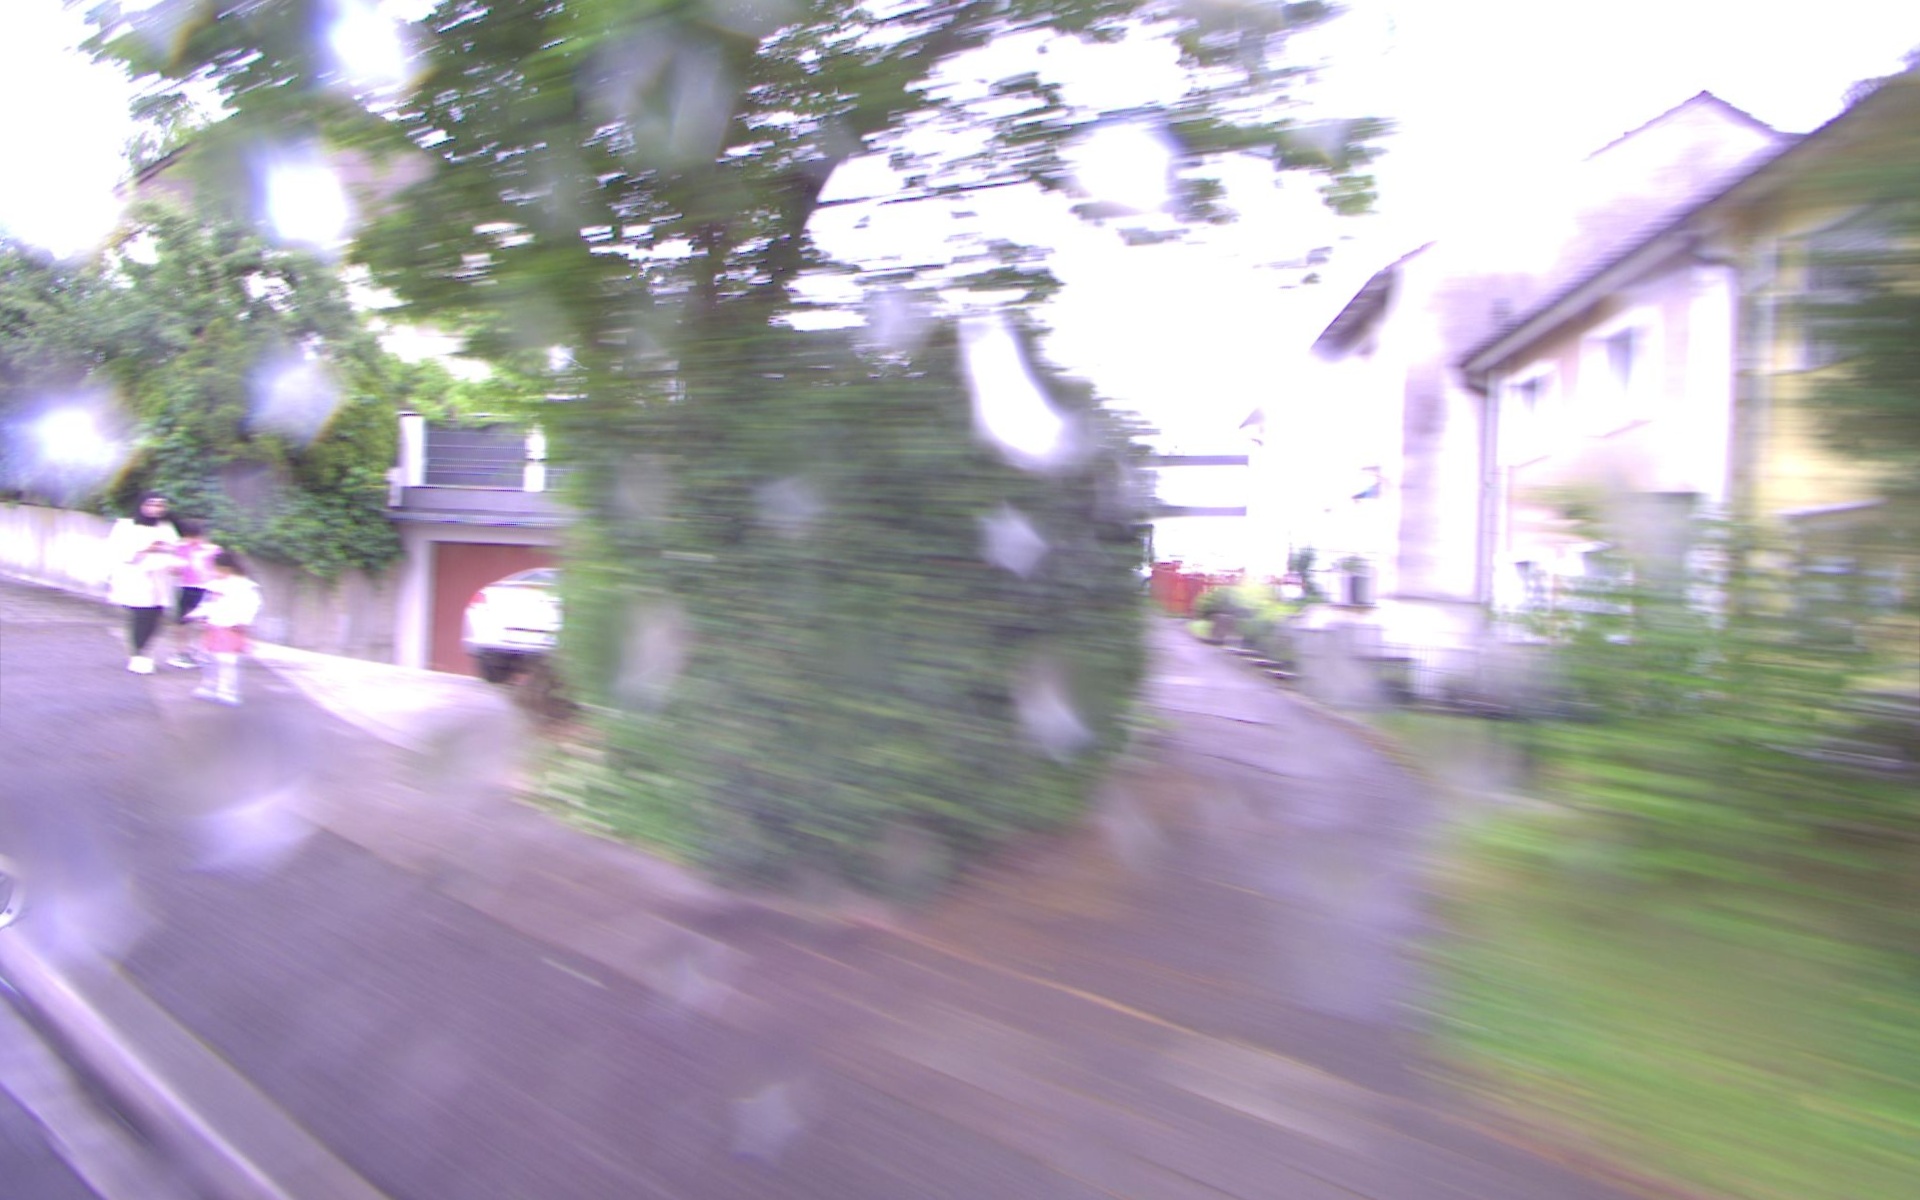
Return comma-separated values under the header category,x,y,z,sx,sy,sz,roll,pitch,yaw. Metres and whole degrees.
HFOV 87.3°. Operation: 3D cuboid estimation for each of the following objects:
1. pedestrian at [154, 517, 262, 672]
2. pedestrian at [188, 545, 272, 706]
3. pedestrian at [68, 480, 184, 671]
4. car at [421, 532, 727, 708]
category,x,y,z,sx,sy,sz,roll,pitch,yaw
pedestrian,-7.056,-0.050,9.443,0.637,1.372,0.601,6,1,40
pedestrian,-5.490,0.191,7.562,0.361,1.161,0.367,6,1,40
pedestrian,-7.432,-0.213,8.965,0.637,1.614,0.609,6,1,40
car,-4.390,0.433,12.361,1.756,1.433,4.621,5,-8,2
